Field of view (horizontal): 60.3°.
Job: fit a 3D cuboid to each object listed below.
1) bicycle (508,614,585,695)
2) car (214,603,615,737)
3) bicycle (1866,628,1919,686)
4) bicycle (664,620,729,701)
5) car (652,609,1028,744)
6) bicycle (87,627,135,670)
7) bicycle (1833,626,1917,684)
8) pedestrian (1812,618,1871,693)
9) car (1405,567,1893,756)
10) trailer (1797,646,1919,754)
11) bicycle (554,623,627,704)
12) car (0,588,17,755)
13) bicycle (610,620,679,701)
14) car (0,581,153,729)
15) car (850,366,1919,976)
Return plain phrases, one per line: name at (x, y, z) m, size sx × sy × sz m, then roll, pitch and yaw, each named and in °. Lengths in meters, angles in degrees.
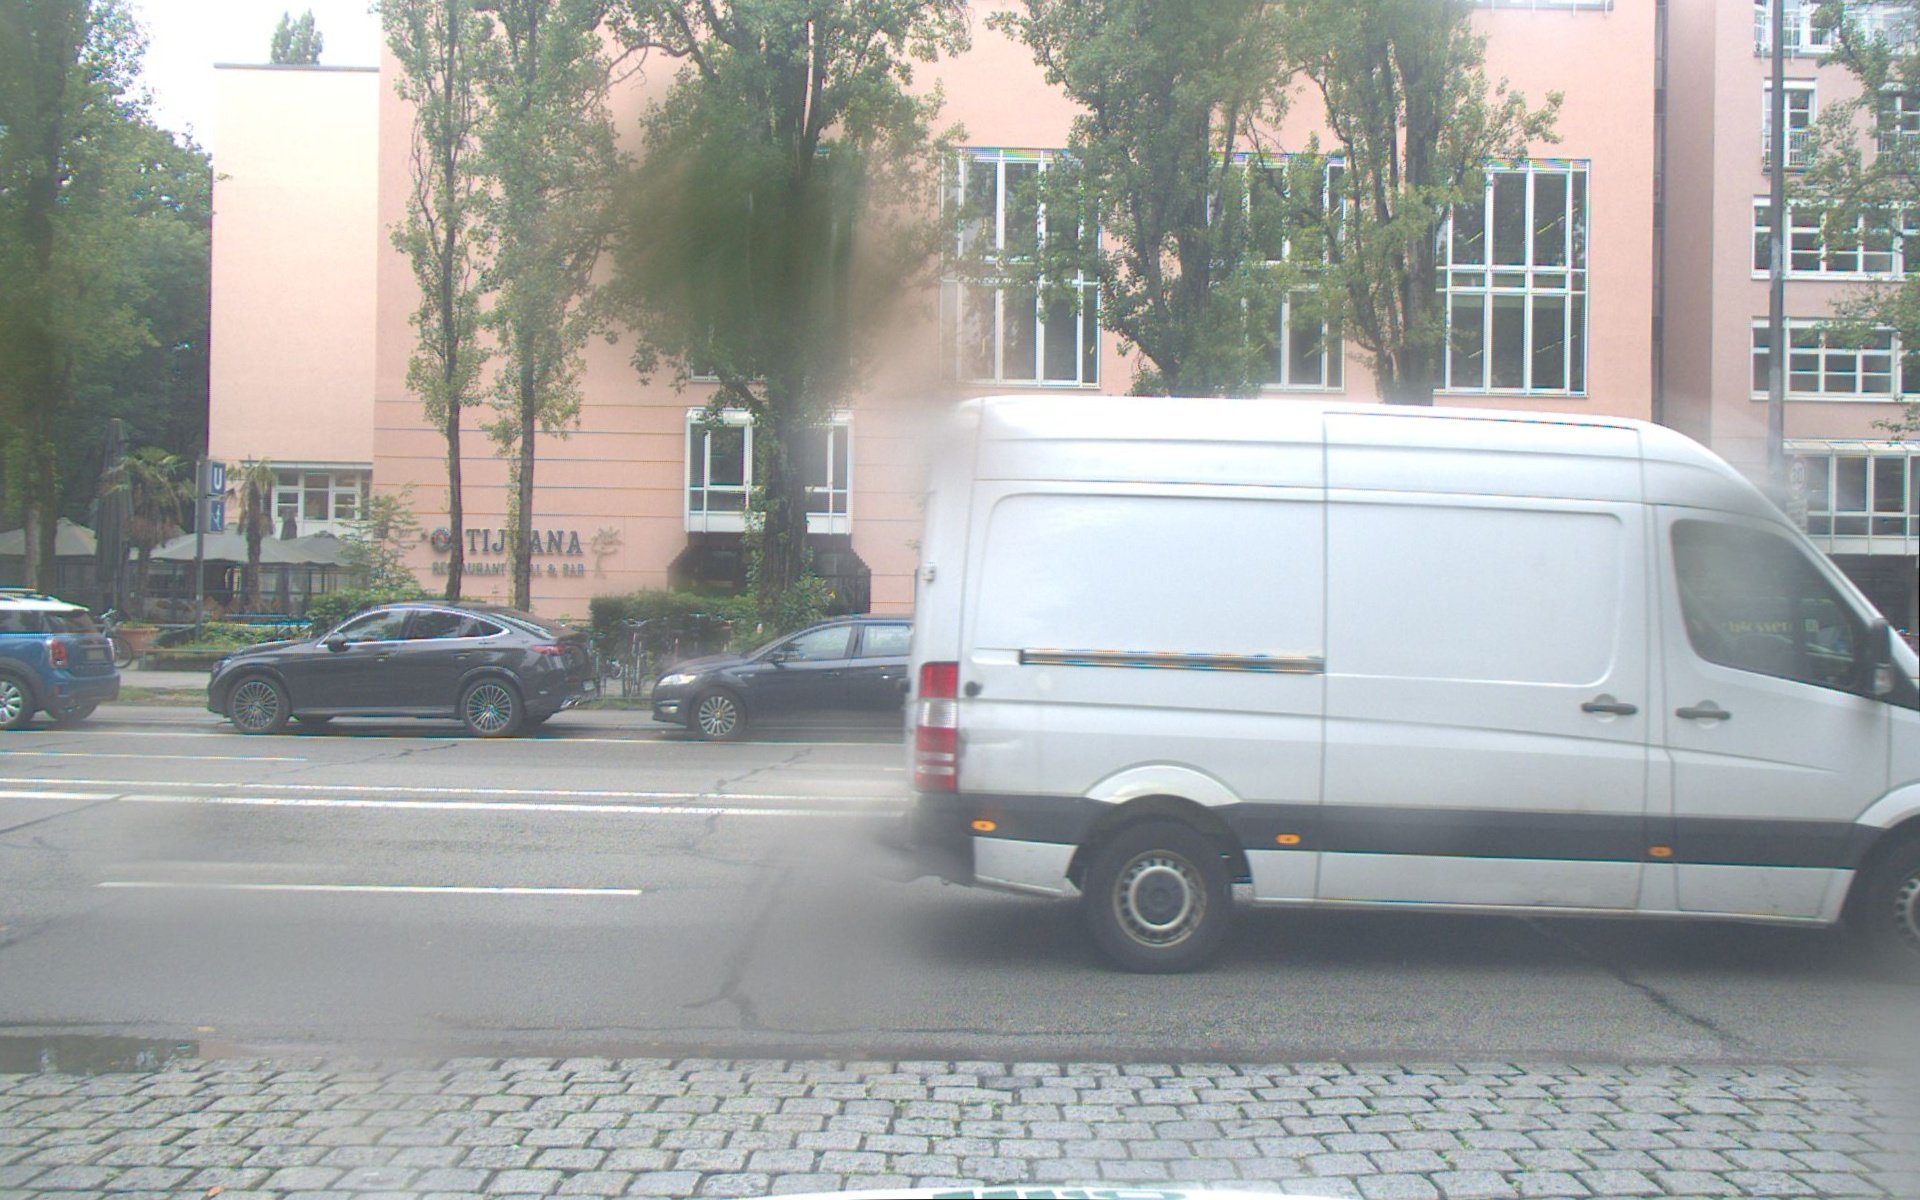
bicycle at (-6.240, 0.805, 25.046) m, size 0.660 × 1.144 × 1.989 m, roll 0°, pitch 0°, yaw 0°
car at (-6.725, 0.841, 20.725) m, size 4.408 × 1.555 × 1.793 m, roll 1°, pitch 0°, yaw -1°
bicycle at (19.897, 1.188, 34.724) m, size 0.660 × 1.144 × 1.989 m, roll 0°, pitch 0°, yaw 0°
bicycle at (-3.981, 0.894, 25.120) m, size 0.660 × 1.144 × 1.989 m, roll 0°, pitch 0°, yaw 0°
car at (-1.449, 0.930, 20.826) m, size 4.514 × 1.555 × 1.793 m, roll 1°, pitch 0°, yaw -1°
bicycle at (-16.629, 0.937, 32.401) m, size 0.317 × 0.812 × 1.030 m, roll 1°, pitch 0°, yaw 5°
bicycle at (19.186, 1.139, 34.712) m, size 0.660 × 1.144 × 1.989 m, roll 0°, pitch 0°, yaw 0°
pedestrian at (16.621, 1.040, 31.201) m, size 0.714 × 1.393 × 0.709 m, roll 1°, pitch 0°, yaw 0°
car at (8.620, 0.744, 21.030) m, size 5.367 × 2.235 × 2.023 m, roll 1°, pitch 0°, yaw -1°
trailer at (14.274, 1.275, 21.204) m, size 5.895 × 1.220 × 2.405 m, roll 1°, pitch 0°, yaw 0°
bicycle at (-5.582, 0.934, 25.079) m, size 0.660 × 1.144 × 1.989 m, roll 0°, pitch 0°, yaw 0°
car at (-10.795, 0.630, 14.752) m, size 3.663 × 1.554 × 1.849 m, roll 1°, pitch -1°, yaw 0°
bicycle at (-4.768, 0.887, 25.067) m, size 0.660 × 1.144 × 1.989 m, roll 0°, pitch 0°, yaw 0°
car at (-12.512, 0.662, 20.601) m, size 3.983 × 1.762 × 1.792 m, roll 1°, pitch -1°, yaw -2°
car at (2.458, 0.305, 8.406) m, size 5.899 × 2.698 × 2.046 m, roll 0°, pitch 1°, yaw -1°
